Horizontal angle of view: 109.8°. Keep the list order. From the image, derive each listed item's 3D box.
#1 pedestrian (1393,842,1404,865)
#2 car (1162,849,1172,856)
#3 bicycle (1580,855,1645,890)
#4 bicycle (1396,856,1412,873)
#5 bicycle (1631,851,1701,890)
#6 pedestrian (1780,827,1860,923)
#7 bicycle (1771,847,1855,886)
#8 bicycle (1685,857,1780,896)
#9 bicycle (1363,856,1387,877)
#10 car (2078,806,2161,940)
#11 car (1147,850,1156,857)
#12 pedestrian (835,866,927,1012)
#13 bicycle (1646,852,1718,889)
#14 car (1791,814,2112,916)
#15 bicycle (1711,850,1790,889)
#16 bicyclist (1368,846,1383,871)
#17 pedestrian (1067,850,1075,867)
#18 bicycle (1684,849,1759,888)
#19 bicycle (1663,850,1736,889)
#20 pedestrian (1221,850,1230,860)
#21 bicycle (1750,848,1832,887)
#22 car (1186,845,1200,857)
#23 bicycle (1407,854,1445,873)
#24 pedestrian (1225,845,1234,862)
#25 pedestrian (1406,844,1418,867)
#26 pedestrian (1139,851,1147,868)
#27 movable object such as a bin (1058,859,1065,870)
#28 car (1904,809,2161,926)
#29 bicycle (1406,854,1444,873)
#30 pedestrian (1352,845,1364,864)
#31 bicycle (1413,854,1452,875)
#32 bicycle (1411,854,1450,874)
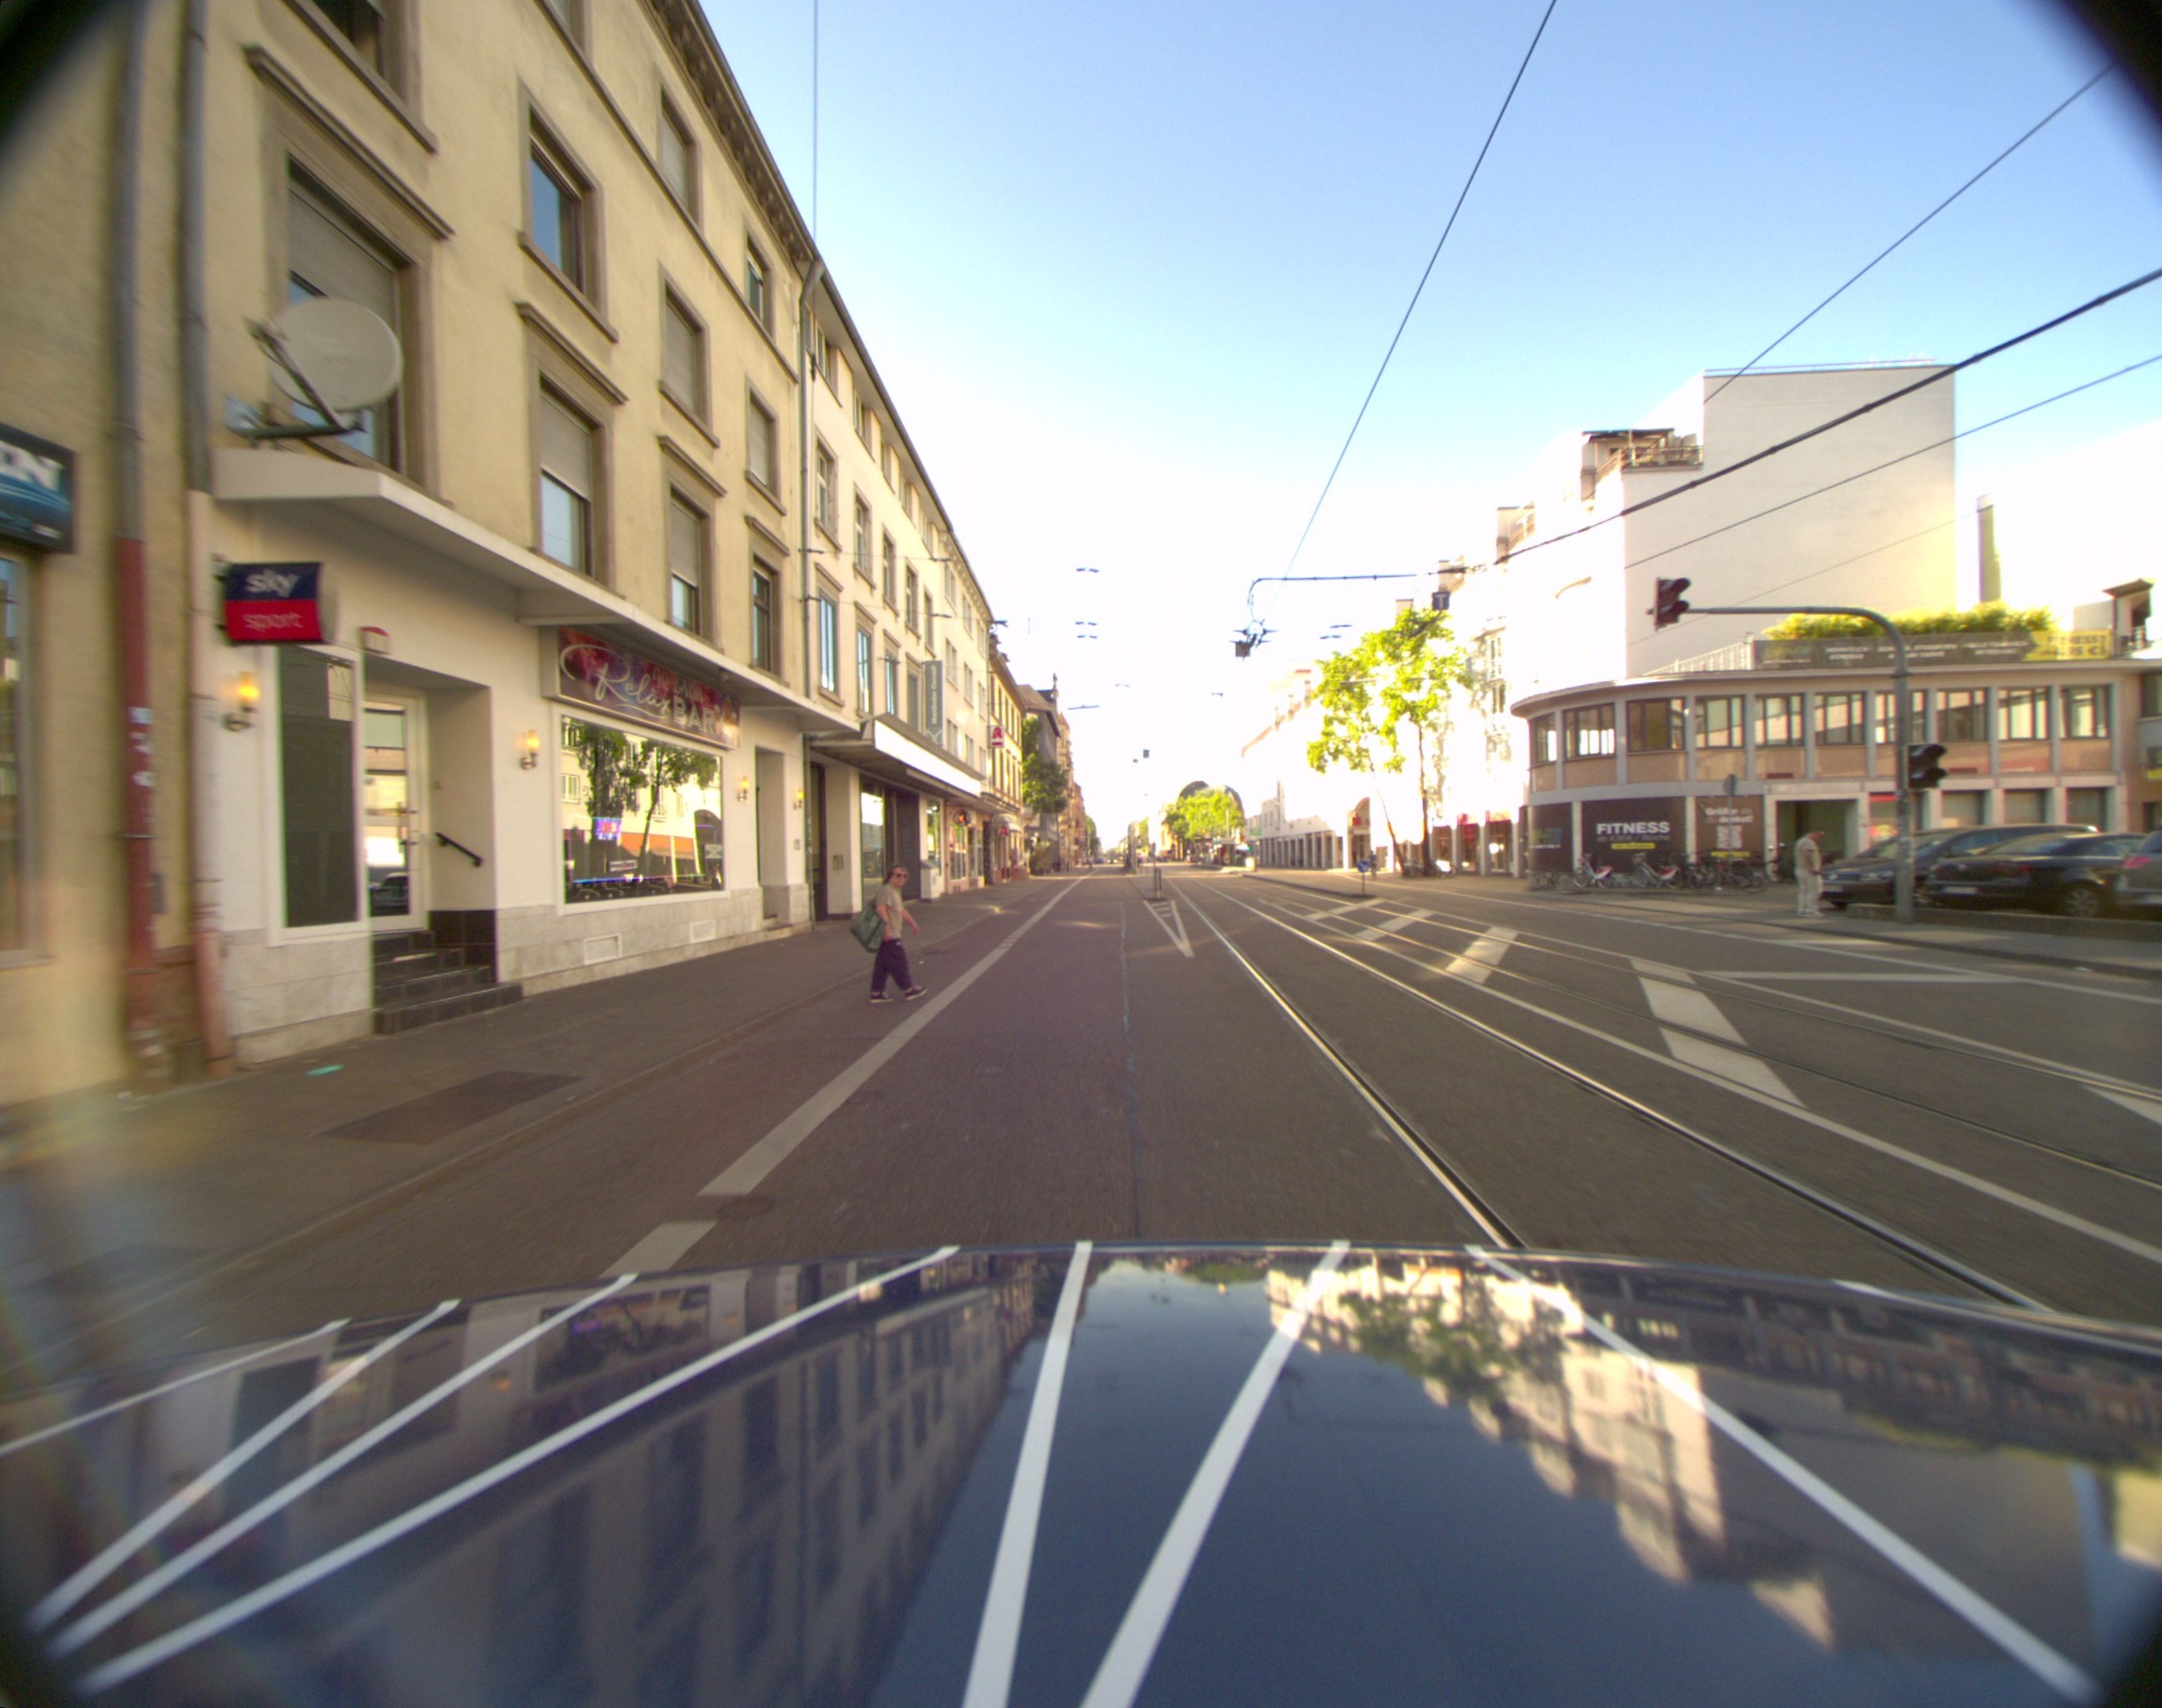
[{"bbox_3d":[22.884,-0.008,54.696,0.563,1.635,0.523,-1,1,3],"label":"pedestrian"},{"bbox_3d":[20.815,-0.254,184.145,1.998,1.608,4.001,-2,0,3],"label":"car"},{"bbox_3d":[16.305,0.547,23.355,0.525,1.030,1.878,-1,0,-5],"label":"bicycle"},{"bbox_3d":[17.961,0.586,42.259,0.470,0.926,1.755,-1,0,12],"label":"bicycle"},{"bbox_3d":[16.962,0.470,22.087,0.464,1.073,1.878,-1,0,-5],"label":"bicycle"},{"bbox_3d":[14.246,0.388,14.669,0.715,1.754,0.780,-4,1,-5],"label":"pedestrian"},{"bbox_3d":[21.202,0.353,22.058,0.464,1.071,1.878,-1,0,-7],"label":"bicycle"},{"bbox_3d":[17.530,0.601,20.486,1.874,1.030,0.426,-1,0,27],"label":"bicycle"},{"bbox_3d":[16.585,0.708,42.917,0.565,1.117,2.004,-4,0,1],"label":"bicycle"},{"bbox_3d":[16.613,0.199,10.094,4.243,1.801,1.785,-1,1,2],"label":"car"},{"bbox_3d":[19.911,-0.080,215.450,1.999,1.892,4.000,-1,0,0],"label":"car"},{"bbox_3d":[-2.234,0.927,8.549,0.780,1.551,0.650,-1,1,4],"label":"pedestrian"},{"bbox_3d":[17.479,0.465,22.136,0.464,1.030,1.878,-1,0,-5],"label":"bicycle"},{"bbox_3d":[17.187,0.213,15.178,4.243,1.753,1.785,-2,0,2],"label":"car"},{"bbox_3d":[19.435,0.428,22.108,0.464,1.071,1.878,-1,0,-7],"label":"bicycle"},{"bbox_3d":[16.614,0.247,42.910,0.564,1.354,0.718,-1,1,0],"label":"bicyclist"},{"bbox_3d":[-1.041,0.490,77.546,0.695,1.680,0.688,5,1,2],"label":"pedestrian"},{"bbox_3d":[18.622,0.393,22.135,0.464,1.071,1.878,-2,0,-5],"label":"bicycle"},{"bbox_3d":[17.993,0.427,22.159,0.464,1.081,1.878,-1,0,-5],"label":"bicycle"},{"bbox_3d":[15.116,0.091,79.266,0.794,0.982,0.747,-1,1,3],"label":"pedestrian"},{"bbox_3d":[20.601,0.385,22.111,0.464,1.071,1.878,-1,0,-7],"label":"bicycle"},{"bbox_3d":[20.691,-0.611,140.542,1.884,2.001,4.001,-3,-1,1],"label":"car"},{"bbox_3d":[19.355,0.539,42.692,1.876,1.071,0.465,-1,0,11],"label":"bicycle"},{"bbox_3d":[14.663,-0.066,75.151,0.794,1.636,0.747,0,3,3],"label":"pedestrian"},{"bbox_3d":[23.826,0.106,54.681,0.563,1.635,0.523,-1,1,3],"label":"pedestrian"},{"bbox_3d":[6.043,0.522,74.386,0.716,1.635,0.400,-1,1,5],"label":"pedestrian"},{"bbox_3d":[-2.019,1.113,79.333,0.717,1.062,0.637,-2,0,1],"label":"movable object such as a bin"},{"bbox_3d":[17.060,0.187,12.845,4.243,1.801,1.785,-1,1,2],"label":"car"},{"bbox_3d":[19.663,0.536,43.421,1.877,1.071,0.512,-1,0,7],"label":"bicycle"},{"bbox_3d":[24.489,0.054,67.154,0.747,1.635,0.731,-1,1,3],"label":"pedestrian"},{"bbox_3d":[19.030,0.557,41.179,1.876,1.071,0.465,-1,0,11],"label":"bicycle"},{"bbox_3d":[19.174,0.527,41.681,1.876,1.071,0.465,-1,0,11],"label":"bicycle"}]
